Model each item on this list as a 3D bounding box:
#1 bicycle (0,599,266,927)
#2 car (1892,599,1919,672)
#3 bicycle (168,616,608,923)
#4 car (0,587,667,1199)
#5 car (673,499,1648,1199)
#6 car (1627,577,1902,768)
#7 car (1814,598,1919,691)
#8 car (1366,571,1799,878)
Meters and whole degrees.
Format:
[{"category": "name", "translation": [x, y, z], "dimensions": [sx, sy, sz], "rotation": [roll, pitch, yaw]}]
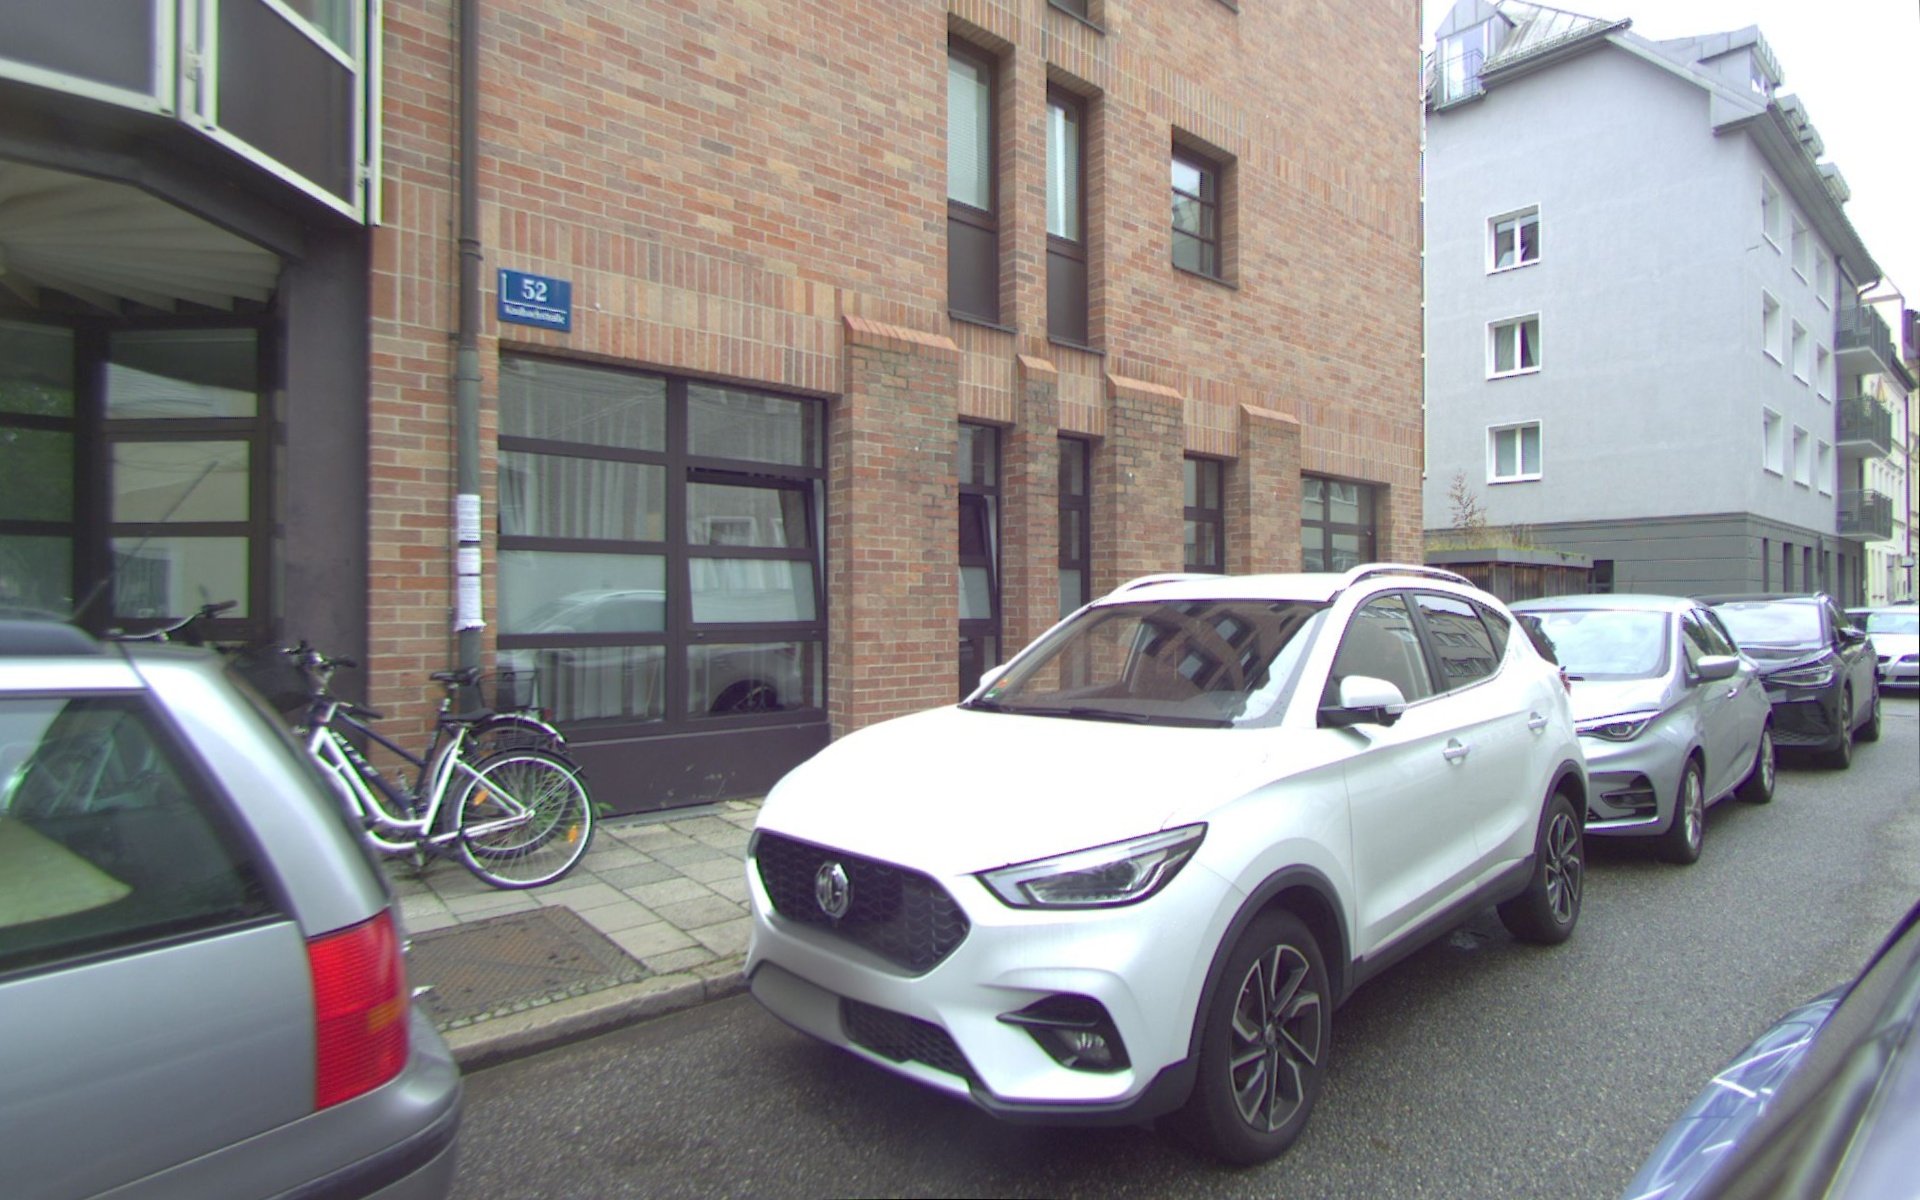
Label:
[{"category": "bicycle", "translation": [-4.084, 0.635, 4.823], "dimensions": [0.581, 1.245, 1.881], "rotation": [-1, 1, -12]}, {"category": "car", "translation": [19.669, 0.675, 20.267], "dimensions": [2.638, 1.393, 1.153], "rotation": [0, -1, -41]}, {"category": "bicycle", "translation": [-2.692, 0.720, 4.950], "dimensions": [1.744, 1.232, 0.744], "rotation": [-1, 0, -27]}, {"category": "car", "translation": [-2.668, 0.736, 0.979], "dimensions": [4.285, 1.453, 1.722], "rotation": [0, -1, -43]}, {"category": "car", "translation": [1.235, 0.620, 4.208], "dimensions": [4.379, 1.636, 1.722], "rotation": [0, -1, -43]}, {"category": "car", "translation": [8.424, 0.617, 10.473], "dimensions": [3.983, 1.600, 1.616], "rotation": [0, -1, -43]}, {"category": "car", "translation": [15.697, 0.676, 16.894], "dimensions": [3.750, 1.394, 1.617], "rotation": [0, -1, -41]}, {"category": "car", "translation": [4.500, 0.648, 7.087], "dimensions": [3.743, 1.578, 1.616], "rotation": [0, -1, -43]}]
